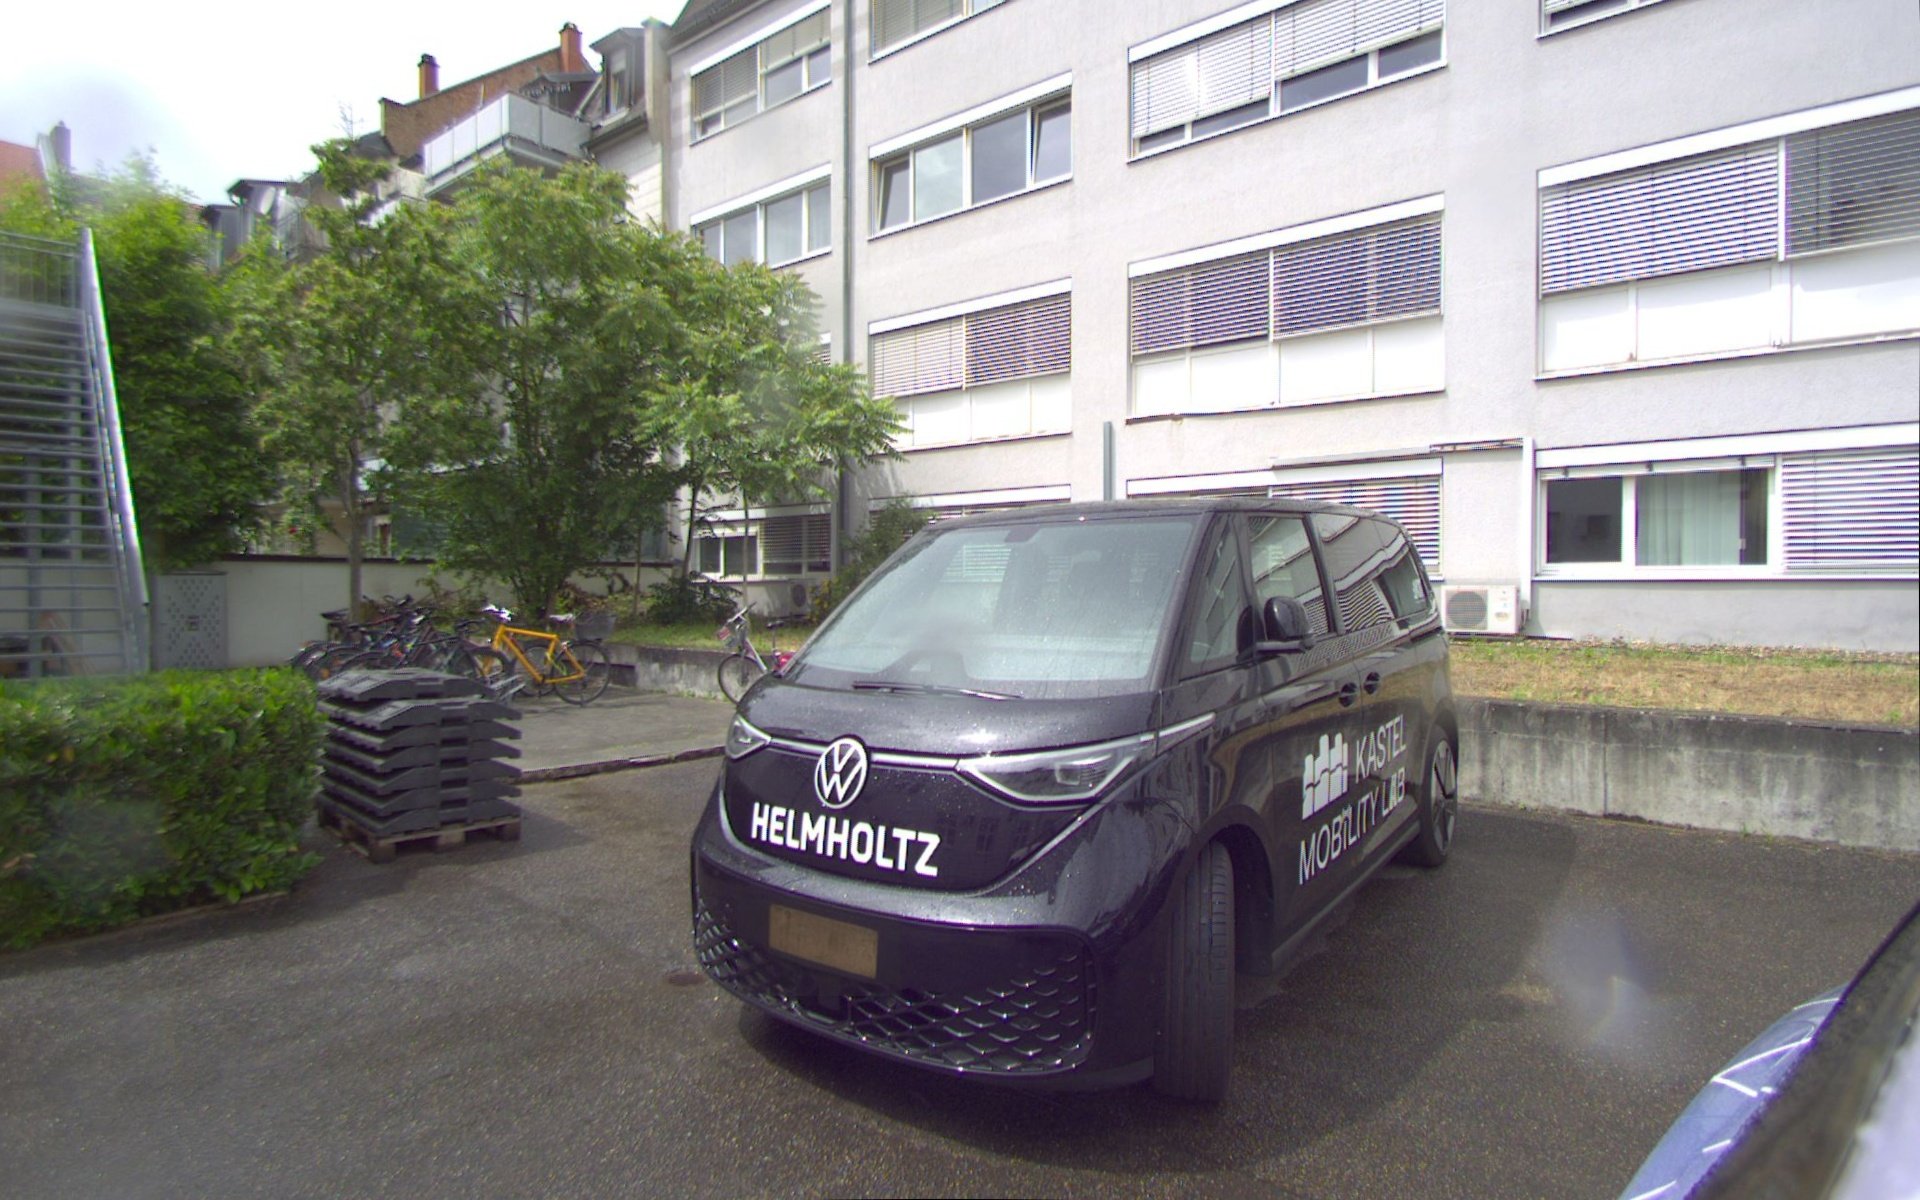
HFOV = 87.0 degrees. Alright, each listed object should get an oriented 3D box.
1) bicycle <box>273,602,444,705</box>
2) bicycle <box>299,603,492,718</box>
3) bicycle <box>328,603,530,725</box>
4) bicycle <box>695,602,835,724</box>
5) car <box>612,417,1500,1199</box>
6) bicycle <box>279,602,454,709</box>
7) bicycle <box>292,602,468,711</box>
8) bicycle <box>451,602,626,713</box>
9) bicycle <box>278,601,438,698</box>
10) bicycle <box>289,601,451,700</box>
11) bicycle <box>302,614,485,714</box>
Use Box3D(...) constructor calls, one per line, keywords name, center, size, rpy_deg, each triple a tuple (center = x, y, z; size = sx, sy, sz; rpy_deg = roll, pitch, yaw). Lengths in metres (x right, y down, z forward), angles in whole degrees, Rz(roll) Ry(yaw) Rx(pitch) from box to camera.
Box3D(name="bicycle", center=(-7.073, 0.592, 11.976), size=(0.344, 1.117, 1.731), rpy_deg=(1, 1, 38))
Box3D(name="bicycle", center=(-5.948, 0.600, 10.748), size=(1.767, 1.117, 0.354), rpy_deg=(0, 1, -44))
Box3D(name="bicycle", center=(-5.327, 0.602, 10.234), size=(1.767, 1.117, 0.404), rpy_deg=(0, 1, -44))
Box3D(name="bicycle", center=(-2.064, 0.616, 10.566), size=(1.790, 1.117, 0.440), rpy_deg=(1, 3, 43))
Box3D(name="car", center=(1.009, 0.462, 4.720), size=(1.959, 1.888, 4.685), rpy_deg=(0, 2, 37))
Box3D(name="bicycle", center=(-6.753, 0.596, 11.593), size=(0.341, 1.117, 1.731), rpy_deg=(1, 1, 38))
Box3D(name="bicycle", center=(-6.478, 0.596, 11.388), size=(0.331, 1.117, 1.731), rpy_deg=(1, 1, 38))
Box3D(name="bicycle", center=(-4.597, 0.595, 11.127), size=(1.767, 1.117, 0.366), rpy_deg=(0, 1, -44))
Box3D(name="bicycle", center=(-7.556, 0.586, 12.773), size=(0.340, 1.117, 1.731), rpy_deg=(1, 1, 38))
Box3D(name="bicycle", center=(-7.273, 0.587, 12.551), size=(0.353, 1.117, 1.731), rpy_deg=(1, 1, 38))
Box3D(name="bicycle", center=(-6.206, 0.666, 11.182), size=(0.328, 0.979, 1.772), rpy_deg=(1, 1, 38))
